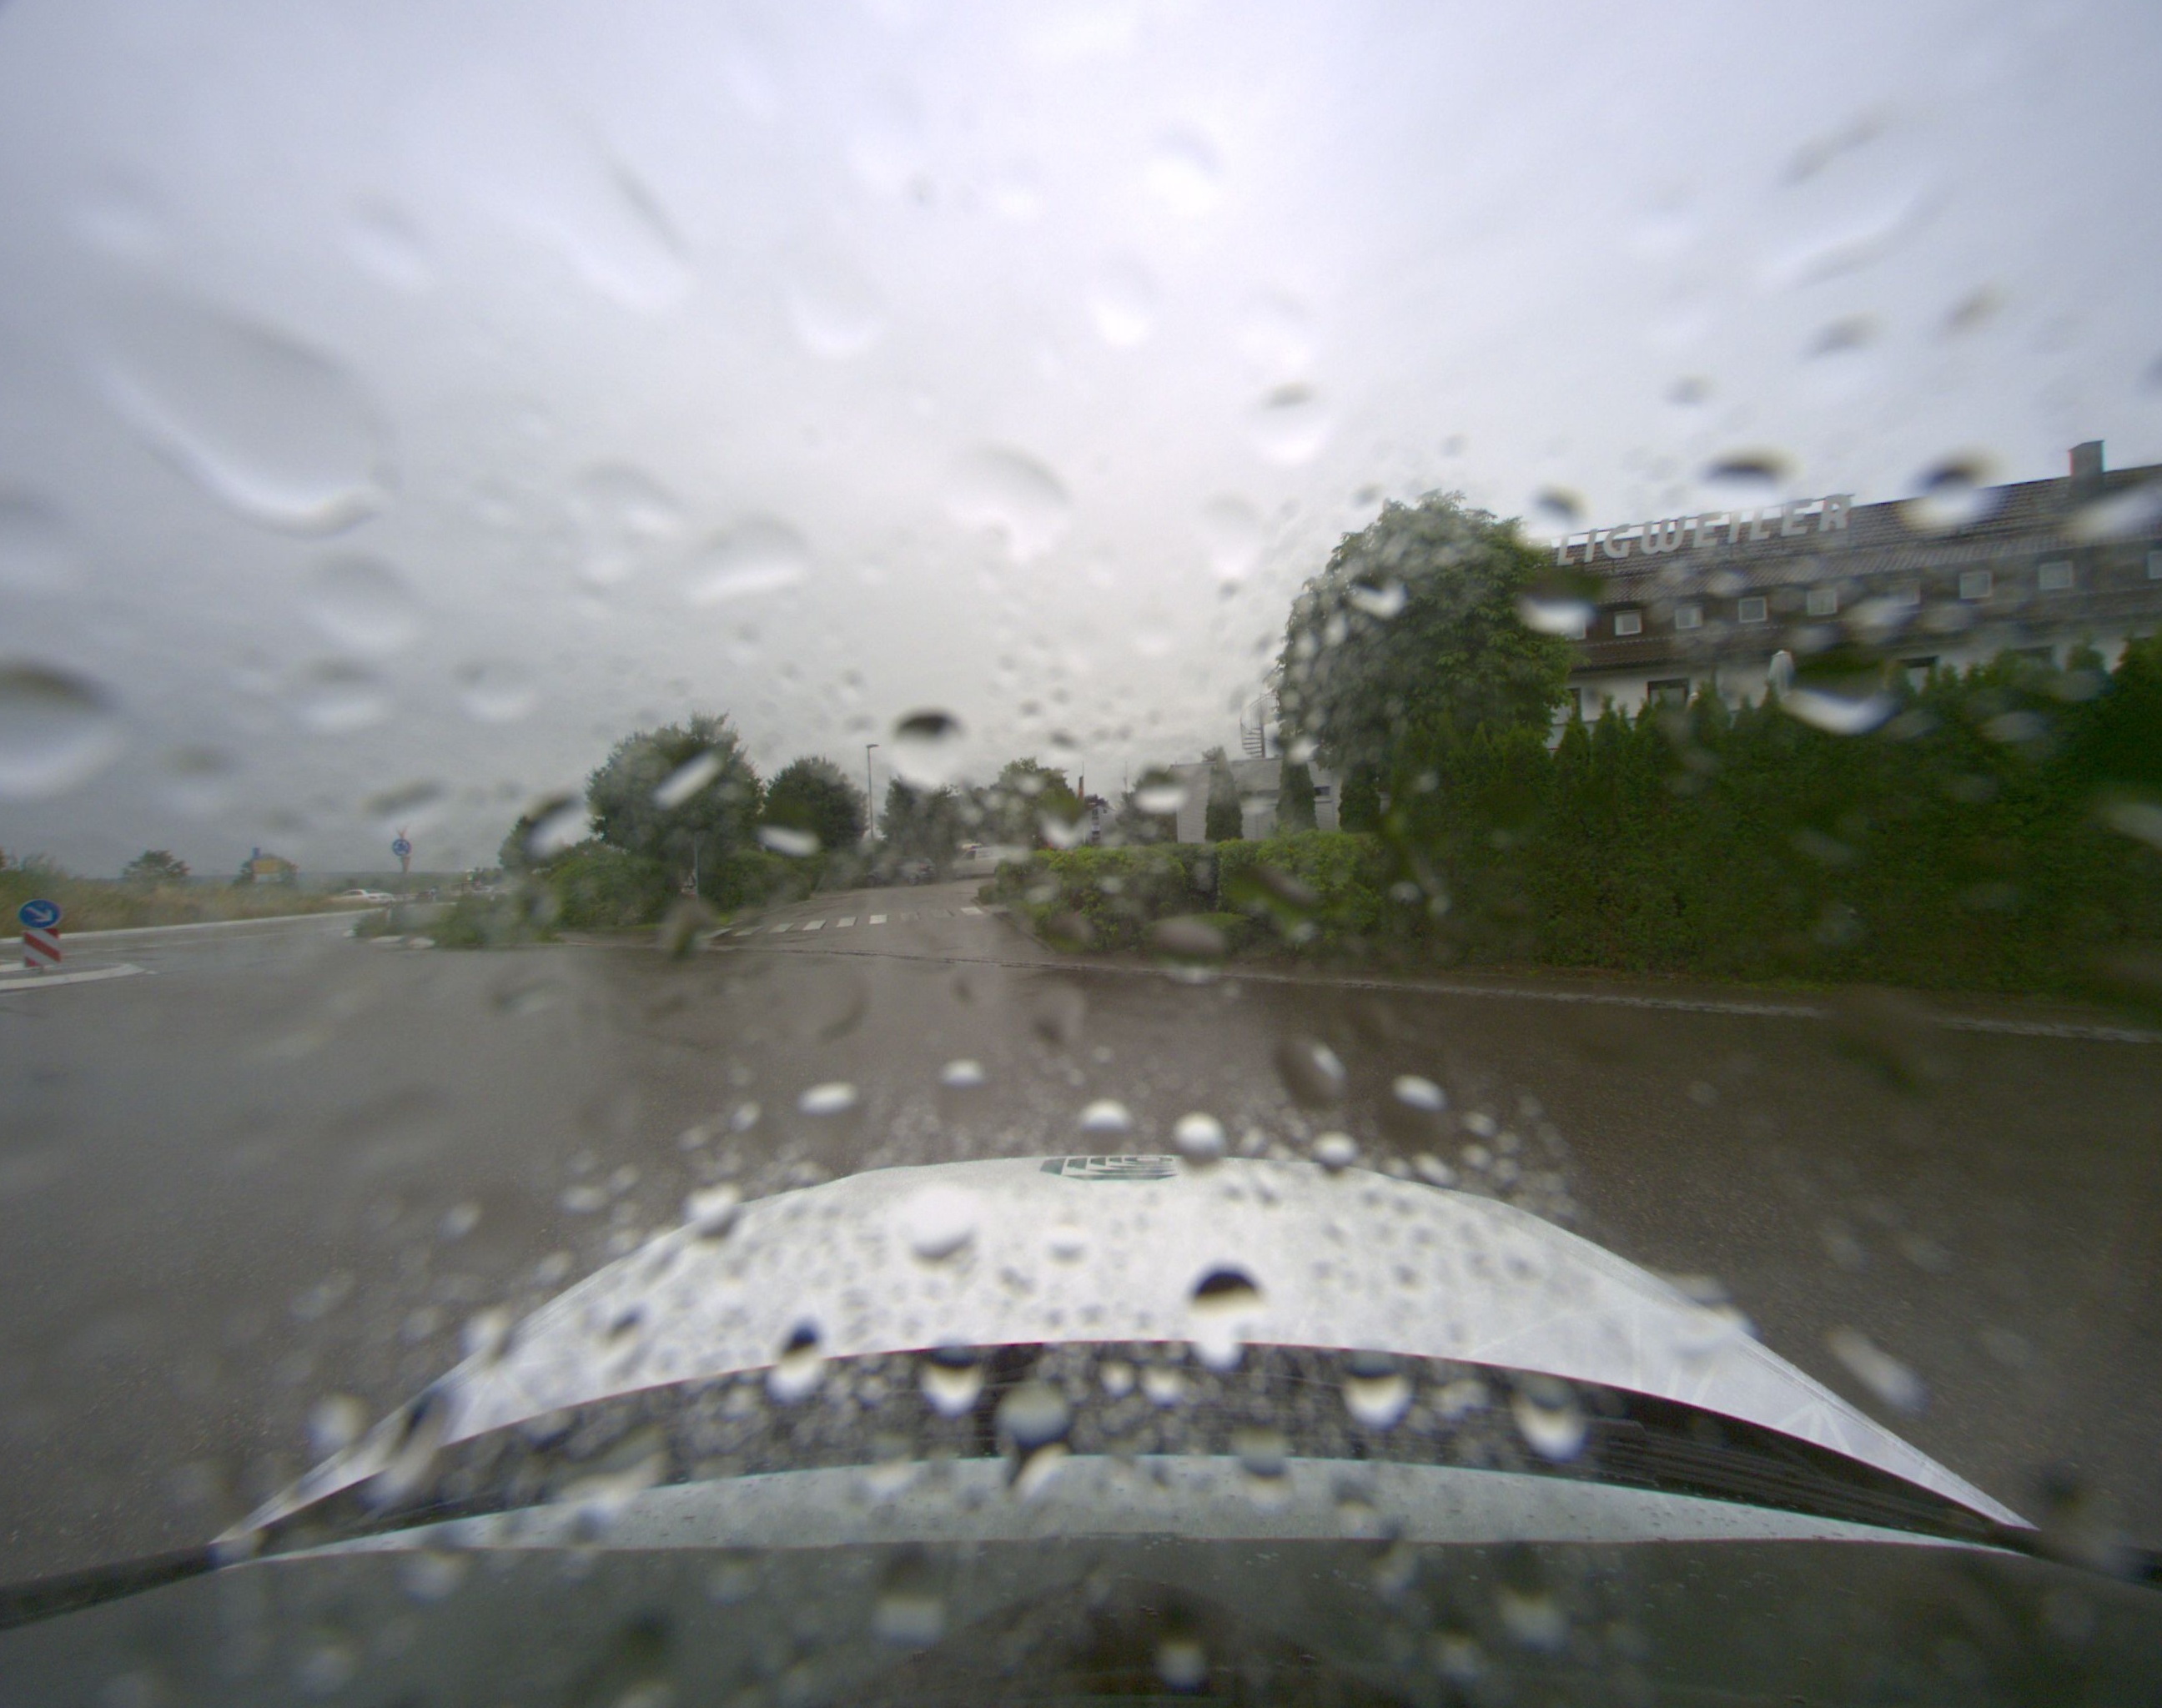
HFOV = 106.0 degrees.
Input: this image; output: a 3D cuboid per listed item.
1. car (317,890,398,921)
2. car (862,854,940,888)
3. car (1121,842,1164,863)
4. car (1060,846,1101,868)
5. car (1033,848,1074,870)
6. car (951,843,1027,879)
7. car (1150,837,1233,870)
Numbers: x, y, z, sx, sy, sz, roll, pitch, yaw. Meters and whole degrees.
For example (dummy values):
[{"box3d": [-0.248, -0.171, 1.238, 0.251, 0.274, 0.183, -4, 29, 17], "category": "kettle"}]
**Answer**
[{"box3d": [-49.846, 3.549, 56.148, 4.326, 1.758, 1.753, -4, 0, 9], "category": "car"}, {"box3d": [-9.583, 0.928, 43.404, 3.701, 1.551, 1.458, -3, 1, 18], "category": "car"}, {"box3d": [4.739, -0.128, 63.518, 1.589, 1.458, 3.647, -4, 1, -27], "category": "car"}, {"box3d": [-0.068, 0.232, 61.709, 1.589, 1.458, 3.647, -4, 1, -27], "category": "car"}, {"box3d": [-2.049, 0.379, 59.796, 1.560, 1.458, 3.647, -4, 1, -27], "category": "car"}, {"box3d": [-5.966, 0.447, 52.858, 4.483, 2.033, 1.653, -3, 1, 18], "category": "car"}, {"box3d": [6.052, -0.013, 44.436, 4.142, 1.497, 1.726, -4, 0, 18], "category": "car"}]
